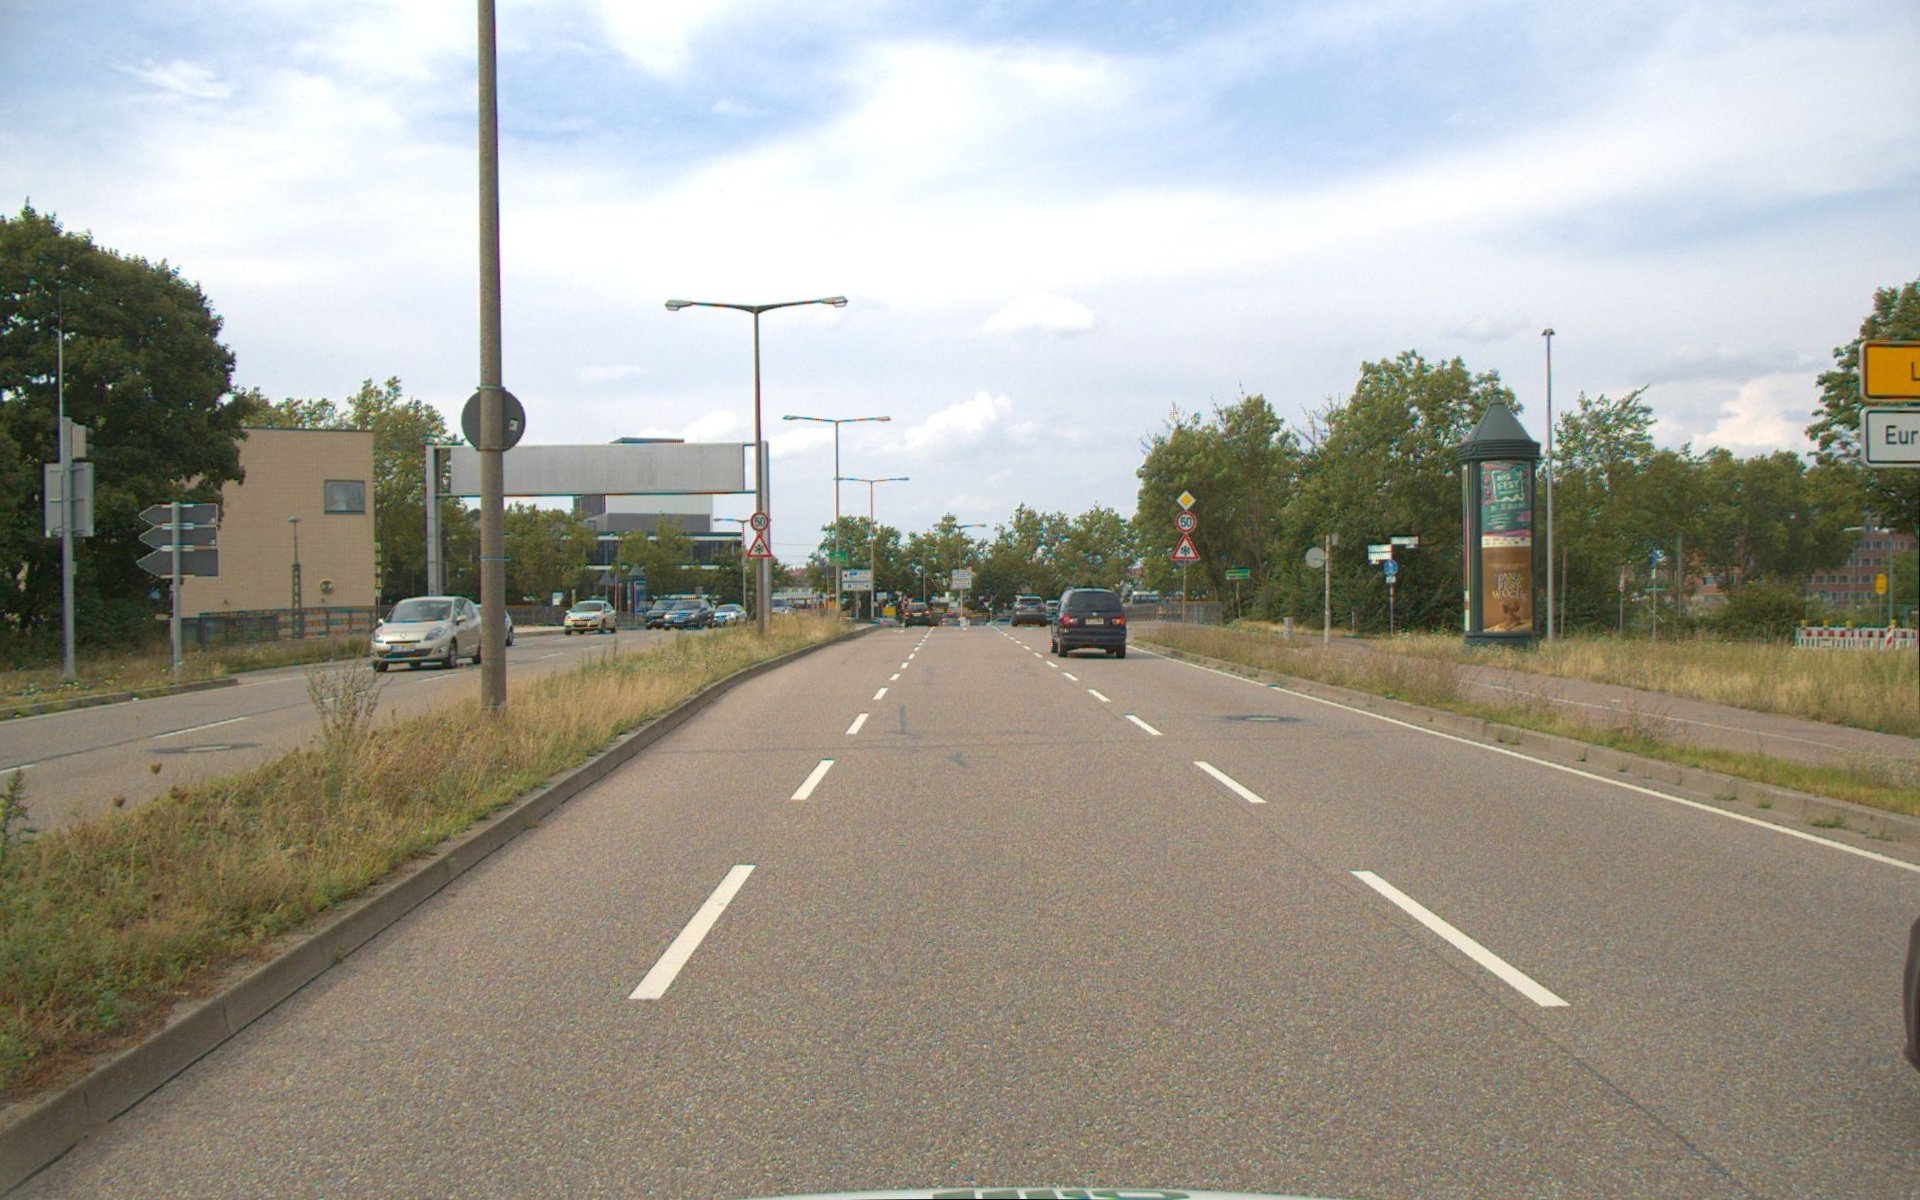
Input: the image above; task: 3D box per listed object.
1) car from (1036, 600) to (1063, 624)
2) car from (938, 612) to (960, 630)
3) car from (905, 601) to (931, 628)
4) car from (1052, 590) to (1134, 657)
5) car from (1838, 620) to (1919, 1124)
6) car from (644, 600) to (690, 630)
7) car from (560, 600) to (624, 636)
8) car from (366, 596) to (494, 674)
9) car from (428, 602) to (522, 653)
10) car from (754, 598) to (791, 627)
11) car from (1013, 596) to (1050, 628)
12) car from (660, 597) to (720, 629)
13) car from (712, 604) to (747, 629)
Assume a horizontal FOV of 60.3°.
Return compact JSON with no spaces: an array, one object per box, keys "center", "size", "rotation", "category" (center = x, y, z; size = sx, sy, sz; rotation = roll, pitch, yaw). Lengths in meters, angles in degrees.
[{"center":[5.948,0.782,110.220],"size":[1.476,1.472,3.139],"rotation":[0,1,-2],"category":"car"},{"center":[-1.012,1.847,147.422],"size":[1.697,1.553,4.111],"rotation":[0,0,-5],"category":"car"},{"center":[-2.776,0.952,110.457],"size":[1.695,1.682,4.114],"rotation":[0,0,-2],"category":"car"},{"center":[3.429,0.573,43.176],"size":[1.695,1.682,4.114],"rotation":[0,0,-2],"category":"car"},{"center":[3.608,0.782,3.069],"size":[1.695,1.419,4.114],"rotation":[0,0,-2],"category":"car"},{"center":[-16.350,0.818,92.466],"size":[1.756,1.551,4.593],"rotation":[-3,-1,-1],"category":"car"},{"center":[-16.266,0.800,73.302],"size":[1.631,1.444,4.315],"rotation":[-3,-1,3],"category":"car"},{"center":[-12.245,0.762,38.501],"size":[1.710,1.626,4.562],"rotation":[-2,1,-4],"category":"car"},{"center":[-16.027,0.887,54.829],"size":[1.631,1.443,4.095],"rotation":[-2,2,4],"category":"car"},{"center":[-10.032,0.652,88.673],"size":[1.660,1.512,3.859],"rotation":[-1,0,-2],"category":"car"},{"center":[3.844,0.608,89.718],"size":[1.695,1.682,4.114],"rotation":[0,0,-2],"category":"car"},{"center":[-13.055,0.618,80.156],"size":[1.630,1.450,4.522],"rotation":[-3,-1,6],"category":"car"},{"center":[-15.267,1.112,109.797],"size":[1.756,1.551,4.187],"rotation":[-3,-1,-1],"category":"car"}]
